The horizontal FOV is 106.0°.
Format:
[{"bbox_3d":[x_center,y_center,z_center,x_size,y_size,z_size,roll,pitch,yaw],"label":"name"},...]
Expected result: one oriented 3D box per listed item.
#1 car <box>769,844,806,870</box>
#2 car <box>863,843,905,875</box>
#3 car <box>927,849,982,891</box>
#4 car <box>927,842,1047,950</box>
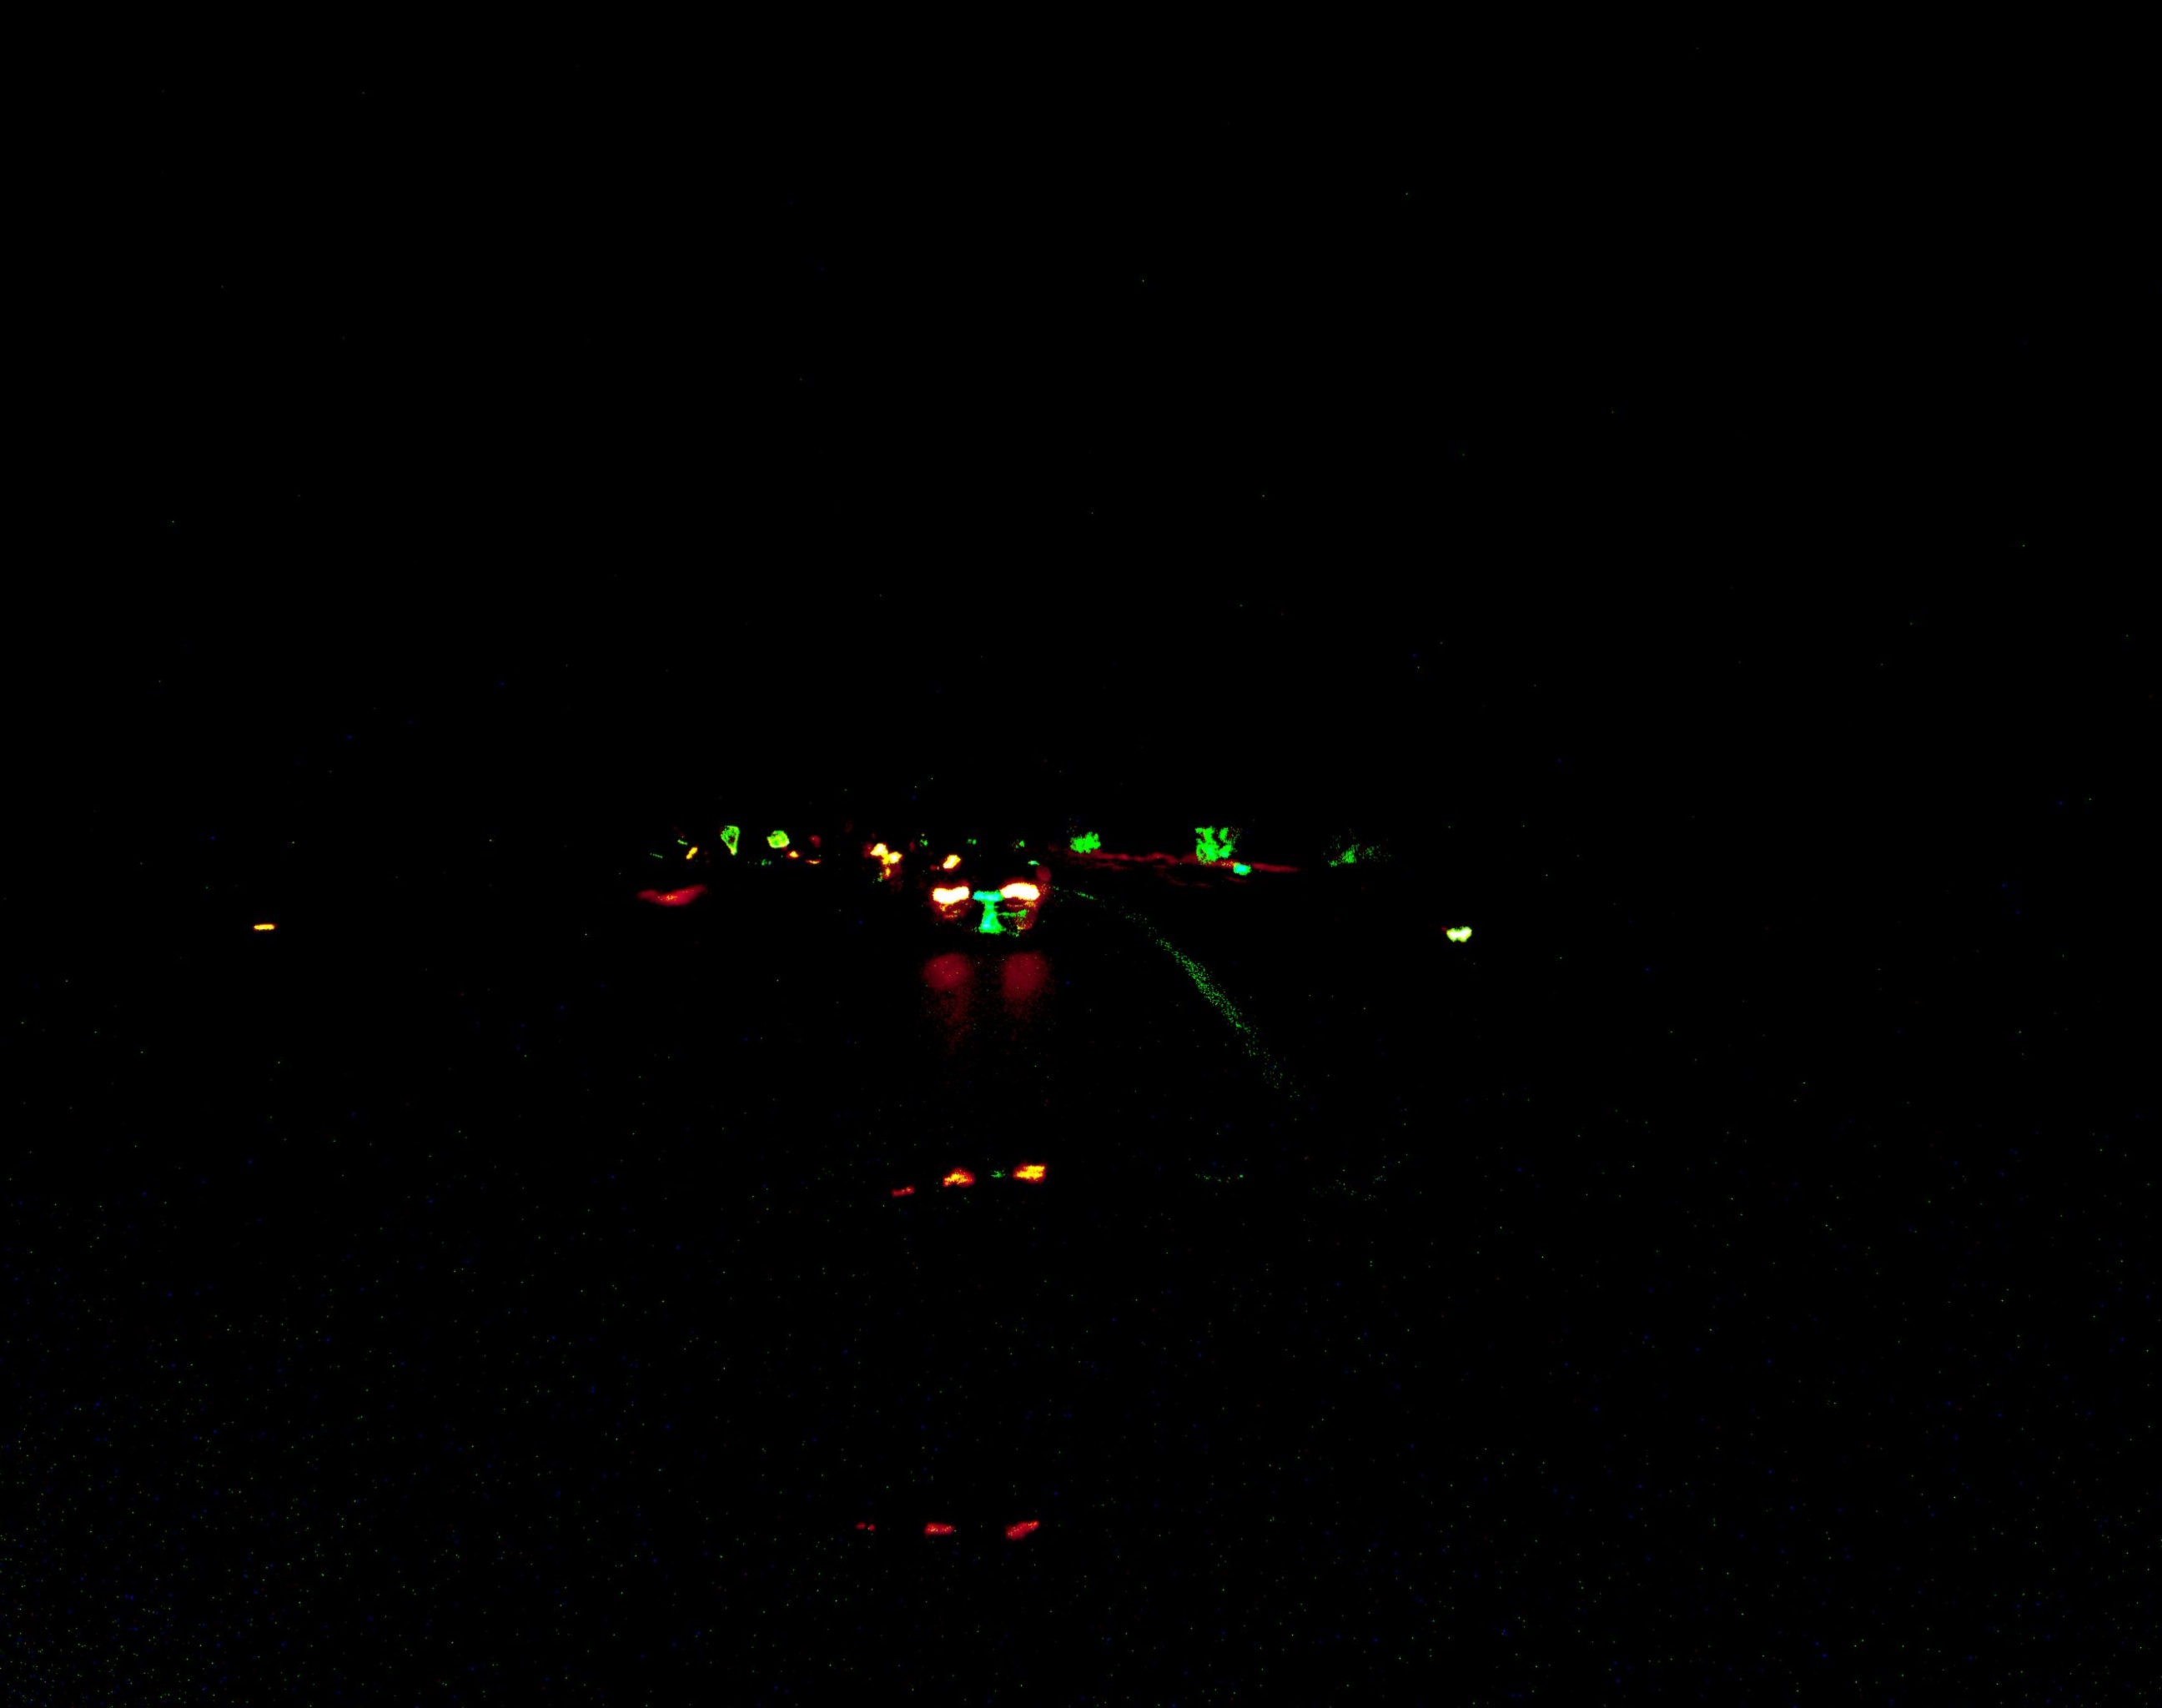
[{"bbox_3d":[-23.732,0.227,65.724,1.909,1.998,4.004,-2,1,-33],"label":"car"},{"bbox_3d":[-13.126,0.301,54.075,1.905,2.040,4.011,-1,0,-26],"label":"car"},{"bbox_3d":[-5.732,0.694,36.569,1.900,1.720,4.022,-2,0,-17],"label":"car"},{"bbox_3d":[-1.699,0.656,15.012,1.858,1.647,4.060,-2,0,-6],"label":"car"}]
